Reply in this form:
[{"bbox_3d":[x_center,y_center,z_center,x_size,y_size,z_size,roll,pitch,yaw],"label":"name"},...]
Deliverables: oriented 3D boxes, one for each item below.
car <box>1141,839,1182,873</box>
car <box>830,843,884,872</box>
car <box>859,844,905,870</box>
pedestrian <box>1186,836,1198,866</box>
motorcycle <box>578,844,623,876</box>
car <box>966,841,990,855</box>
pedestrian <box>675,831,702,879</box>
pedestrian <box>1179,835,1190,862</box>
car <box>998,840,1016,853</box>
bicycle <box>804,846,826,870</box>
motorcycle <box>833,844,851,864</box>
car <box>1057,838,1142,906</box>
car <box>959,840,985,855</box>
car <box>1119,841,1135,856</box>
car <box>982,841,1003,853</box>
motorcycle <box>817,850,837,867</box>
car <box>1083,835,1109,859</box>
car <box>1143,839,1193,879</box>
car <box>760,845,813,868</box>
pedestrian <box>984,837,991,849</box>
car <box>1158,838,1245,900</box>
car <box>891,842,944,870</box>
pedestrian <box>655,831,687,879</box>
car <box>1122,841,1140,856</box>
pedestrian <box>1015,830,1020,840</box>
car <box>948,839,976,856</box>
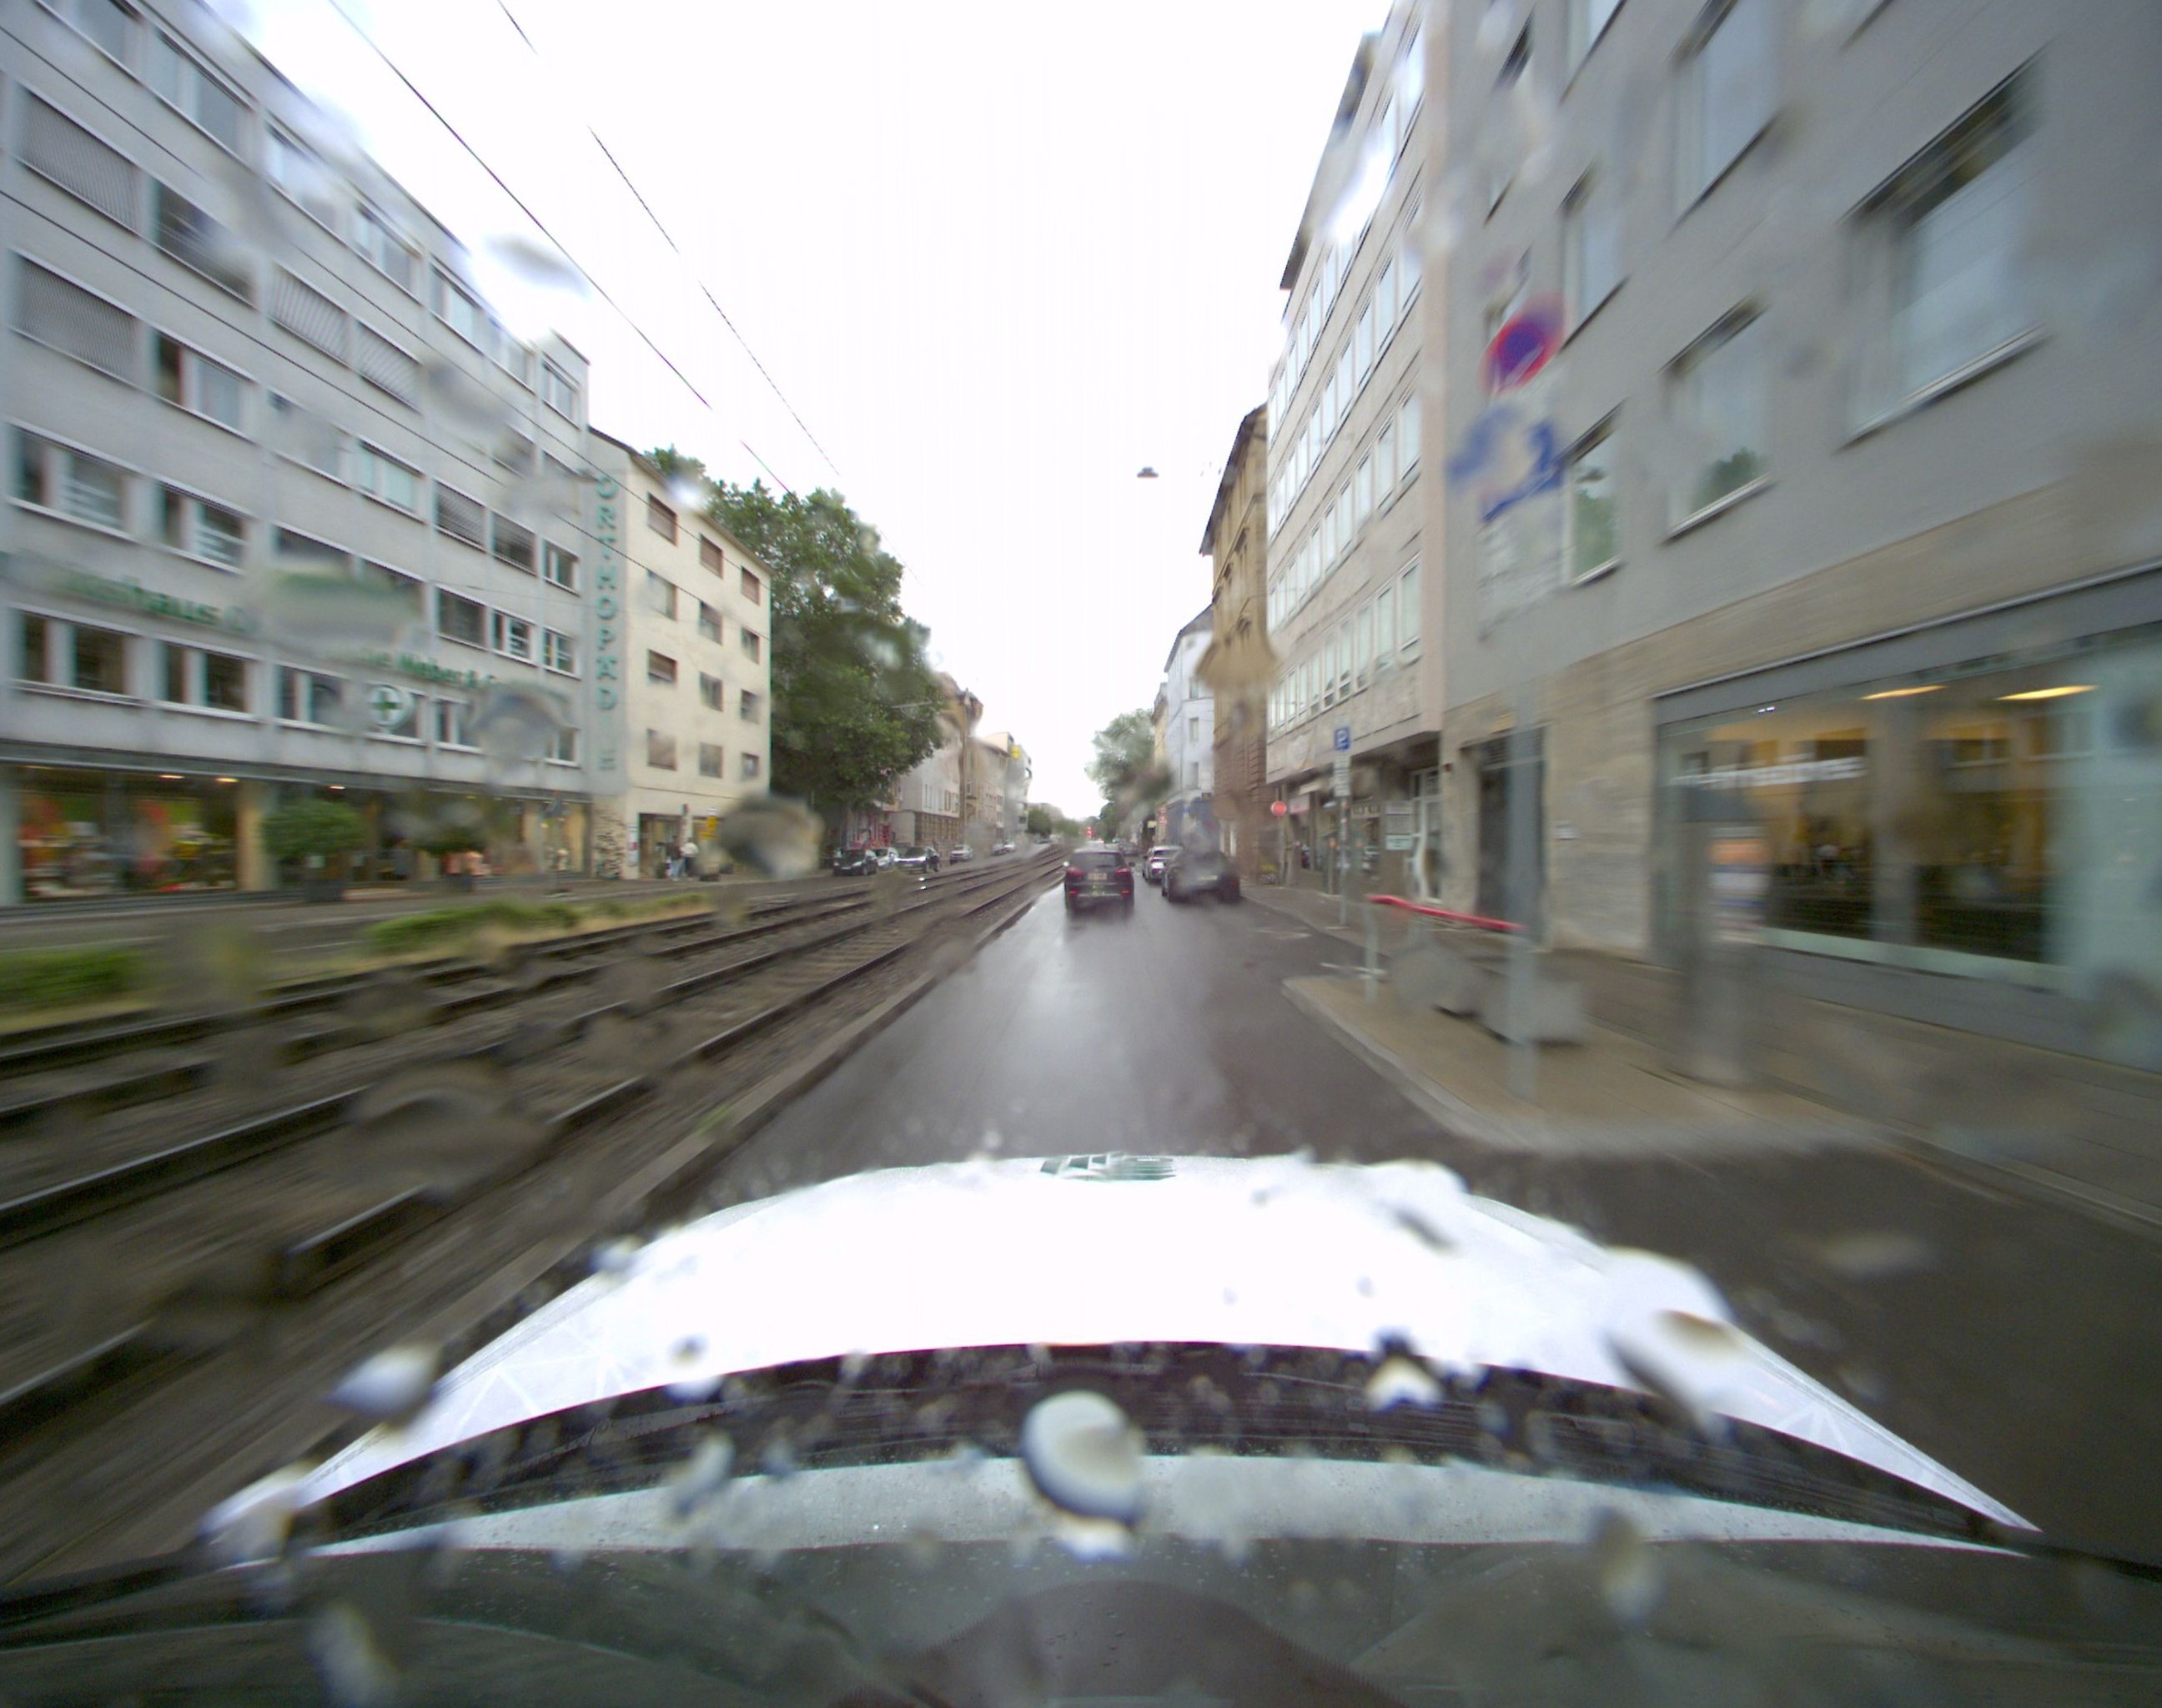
[{"bbox_3d":[3.837,0.064,39.351,1.713,1.515,4.261,0,2,2],"label":"car"},{"bbox_3d":[-12.540,0.165,45.838,1.737,1.468,4.221,-1,1,1],"label":"car"},{"bbox_3d":[-12.318,0.148,50.713,1.715,1.570,4.221,0,1,1],"label":"car"},{"bbox_3d":[7.508,-0.224,55.081,0.733,2.013,0.821,0,1,0],"label":"pedestrian"},{"bbox_3d":[-18.210,0.236,30.878,1.472,1.180,0.386,0,1,-1],"label":"motorcycle"},{"bbox_3d":[-11.320,-0.659,89.788,1.986,1.519,4.994,0,1,1],"label":"car"},{"bbox_3d":[-15.621,0.032,32.441,0.676,1.895,0.743,0,0,1],"label":"pedestrian"},{"bbox_3d":[6.979,-0.382,55.049,0.659,1.852,0.821,0,1,0],"label":"pedestrian"},{"bbox_3d":[-10.693,-1.164,118.072,1.987,1.839,5.071,0,1,0],"label":"car"},{"bbox_3d":[-14.043,0.189,43.022,0.590,1.226,2.399,1,0,-6],"label":"bicycle"},{"bbox_3d":[-16.577,0.002,56.613,0.637,1.379,2.119,0,1,0],"label":"motorcycle"},{"bbox_3d":[0.510,0.422,21.276,1.986,1.594,4.273,-1,0,2],"label":"car"},{"bbox_3d":[-11.347,-0.650,85.080,1.986,1.519,4.210,0,1,1],"label":"car"},{"bbox_3d":[5.129,-0.636,91.037,1.637,1.515,4.040,0,2,1],"label":"car"},{"bbox_3d":[-10.845,-0.881,100.306,1.986,1.519,4.677,0,1,1],"label":"car"},{"bbox_3d":[-16.834,0.279,53.945,0.637,1.033,2.119,0,1,0],"label":"motorcycle"},{"bbox_3d":[1.215,-0.574,64.922,1.986,1.816,4.273,-1,0,2],"label":"car"},{"bbox_3d":[3.615,0.155,34.515,1.740,1.523,4.356,0,2,1],"label":"car"},{"bbox_3d":[-19.497,0.136,54.026,1.987,1.454,4.001,-1,1,0],"label":"car"},{"bbox_3d":[-12.981,-1.521,113.055,0.799,1.750,0.984,0,1,0],"label":"pedestrian"},{"bbox_3d":[3.335,0.375,23.376,1.986,1.594,4.574,-1,0,2],"label":"car"},{"bbox_3d":[-9.272,0.055,46.557,1.986,1.519,4.445,0,1,1],"label":"car"},{"bbox_3d":[-16.333,0.024,32.463,0.724,1.895,0.983,0,0,1],"label":"pedestrian"},{"bbox_3d":[5.276,-0.597,86.437,1.733,1.489,4.001,0,2,1],"label":"car"},{"bbox_3d":[-11.755,-3.488,150.556,0.741,1.853,0.839,-1,-1,0],"label":"pedestrian"},{"bbox_3d":[-11.491,-0.637,78.816,1.986,1.519,4.437,0,1,1],"label":"car"}]
